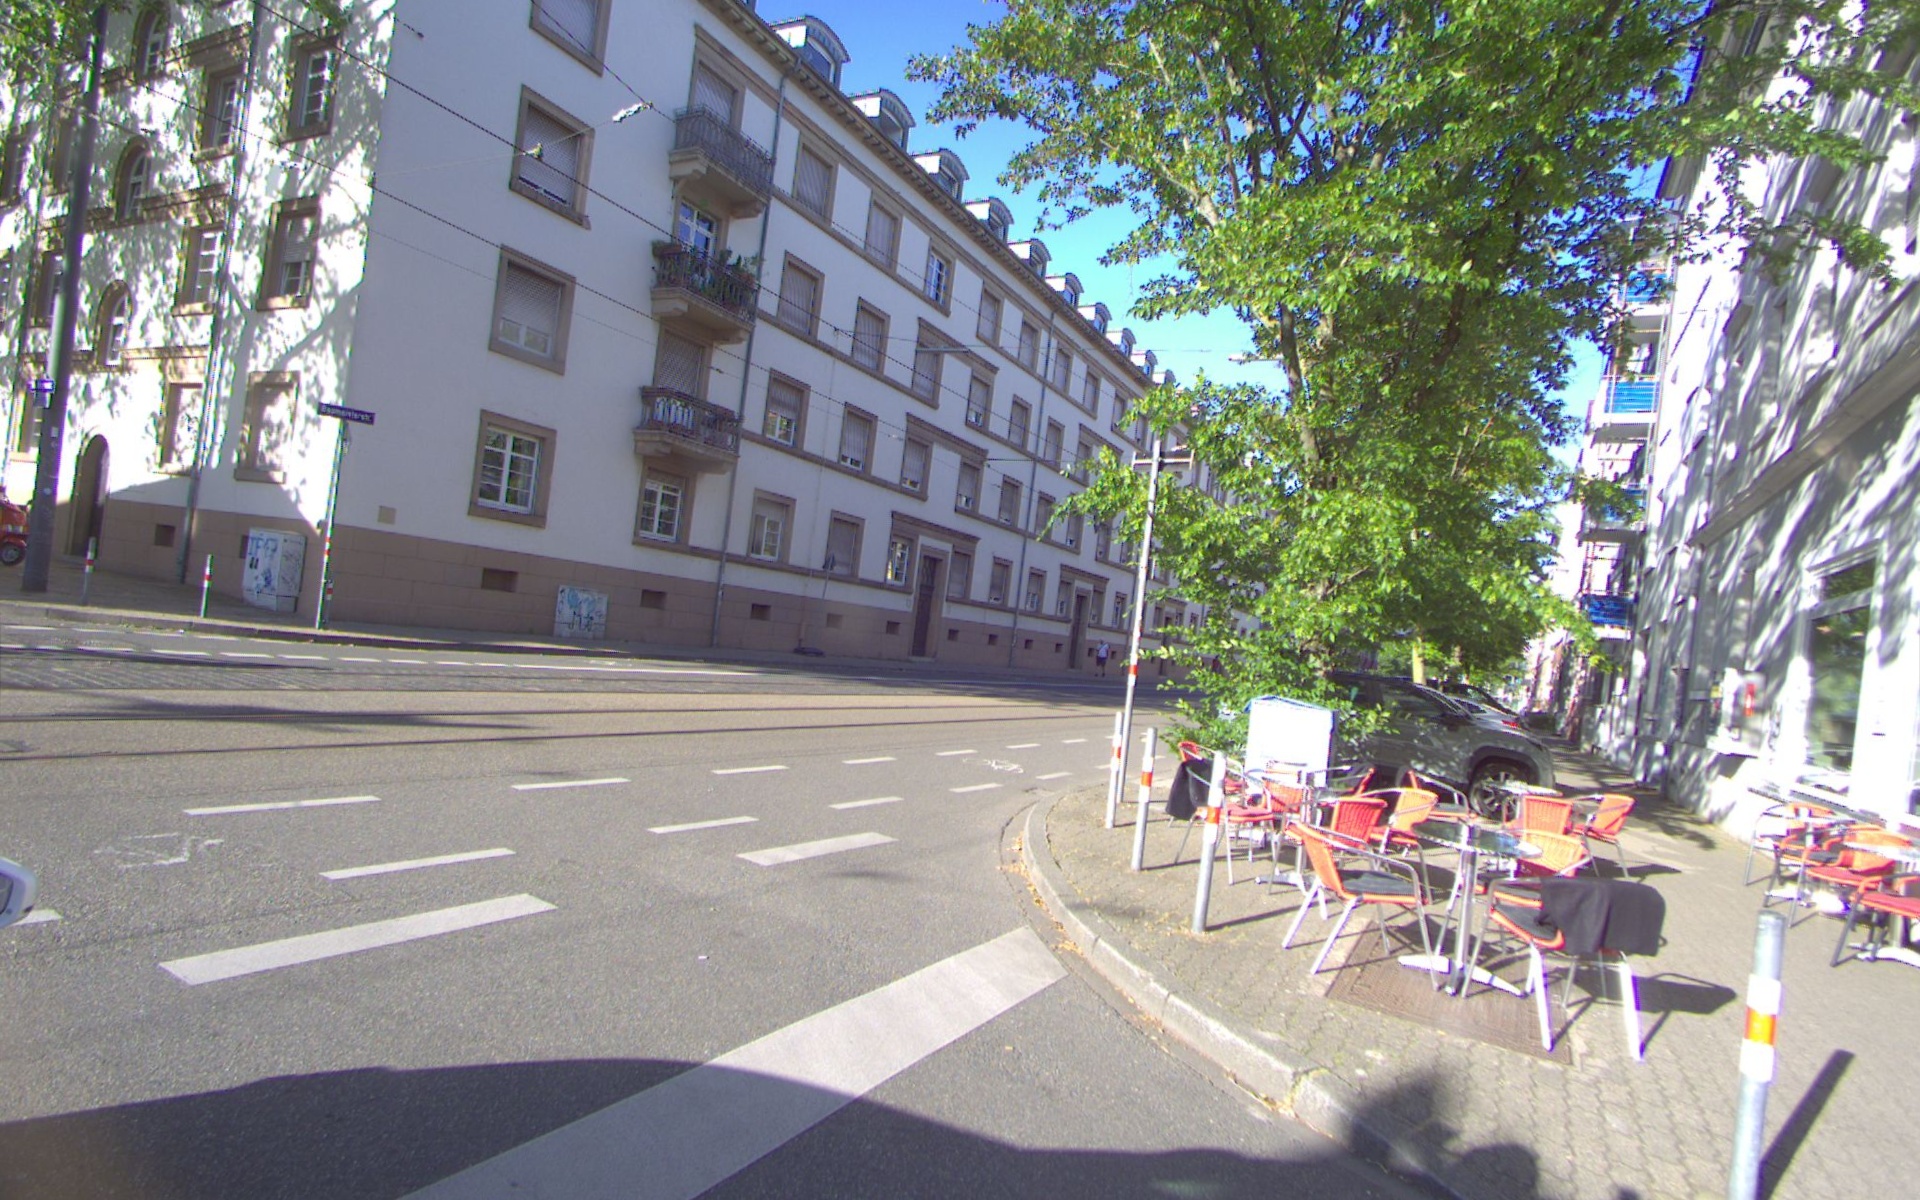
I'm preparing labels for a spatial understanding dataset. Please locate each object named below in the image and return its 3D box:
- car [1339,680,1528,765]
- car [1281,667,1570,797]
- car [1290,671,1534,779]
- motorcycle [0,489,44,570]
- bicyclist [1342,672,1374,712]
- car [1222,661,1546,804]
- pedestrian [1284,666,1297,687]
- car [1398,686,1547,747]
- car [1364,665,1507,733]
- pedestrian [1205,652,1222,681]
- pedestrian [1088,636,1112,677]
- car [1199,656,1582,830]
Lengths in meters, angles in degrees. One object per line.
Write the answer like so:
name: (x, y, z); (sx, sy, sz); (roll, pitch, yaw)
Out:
car: (11.818, 3.020, 25.322); (4.061, 1.506, 1.619); (5, 0, 24)
car: (7.751, 2.173, 17.098); (4.056, 1.575, 1.621); (6, 0, 10)
car: (8.723, 2.388, 19.790); (4.057, 1.506, 1.621); (6, 0, 16)
motorcycle: (-17.251, -1.322, 18.059); (1.732, 1.348, 0.515); (7, 0, 27)
bicyclist: (15.950, 3.693, 40.303); (0.886, 1.471, 1.261); (7, 0, 29)
car: (6.236, 1.931, 15.060); (4.060, 1.575, 1.619); (6, 0, -4)
pedestrian: (29.823, 6.901, 90.760); (0.725, 1.860, 0.696); (8, 0, 28)
car: (17.106, 3.874, 33.679); (4.060, 1.506, 1.619); (6, 0, -4)
car: (16.958, 3.520, 35.996); (4.060, 1.911, 1.888); (6, 0, -4)
pedestrian: (17.476, 4.591, 69.318); (0.725, 1.860, 0.696); (8, 0, 28)
pedestrian: (6.720, 2.690, 48.207); (0.725, 1.860, 0.696); (8, 0, 28)
car: (5.290, 1.740, 12.810); (4.057, 1.575, 1.621); (6, 0, 5)
